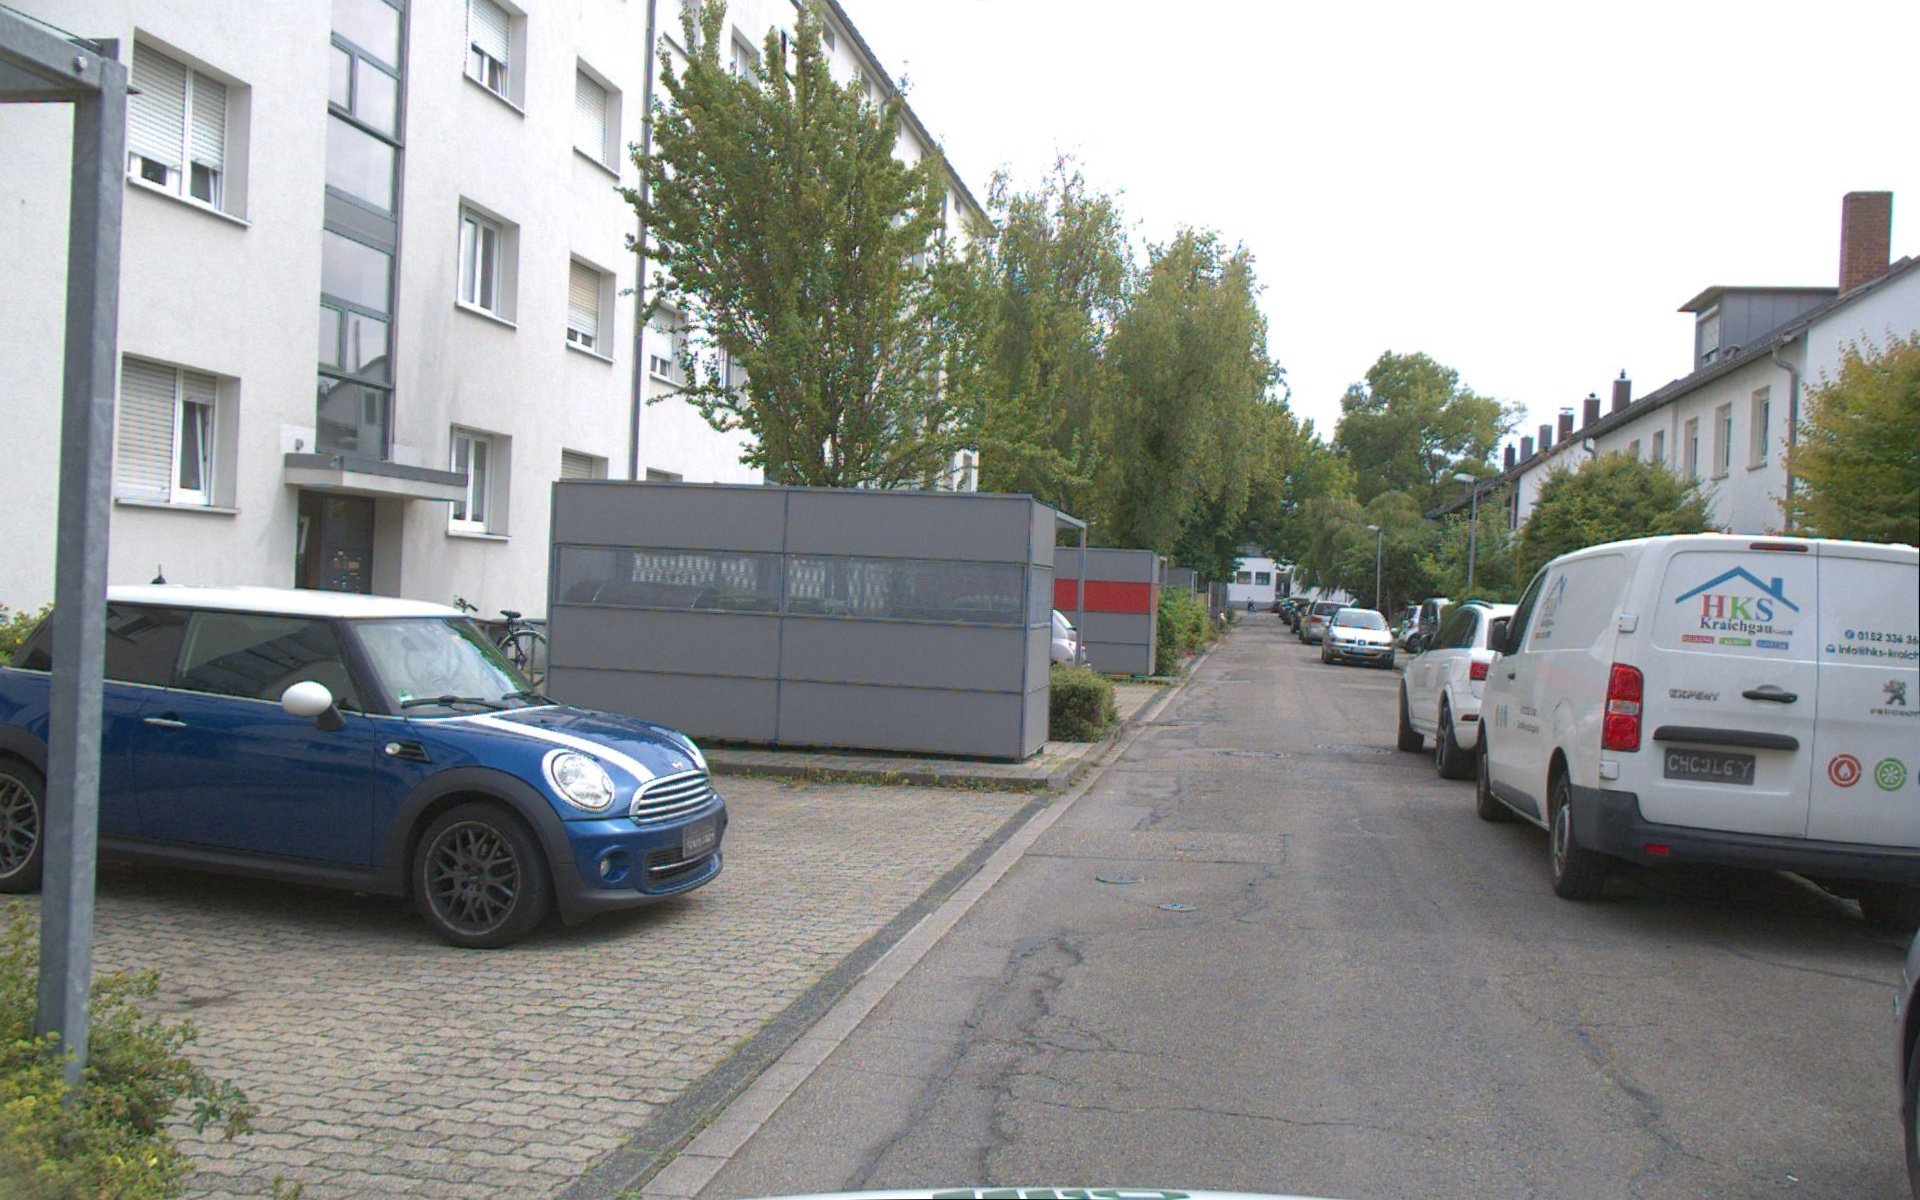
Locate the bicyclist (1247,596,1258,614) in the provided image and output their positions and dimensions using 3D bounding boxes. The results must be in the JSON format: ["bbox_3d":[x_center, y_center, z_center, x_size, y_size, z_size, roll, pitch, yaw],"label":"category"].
[{"bbox_3d":[25.749,0.471,145.673,0.782,1.537,0.934,4,0,13],"label":"bicyclist"}]

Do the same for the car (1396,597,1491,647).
[{"bbox_3d":[15.891,0.721,54.474,2.756,1.596,1.742,0,0,8],"label":"car"}]

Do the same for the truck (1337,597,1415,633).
[{"bbox_3d":[24.694,0.896,98.287,4.296,2.049,2.002,1,0,10],"label":"truck"}]

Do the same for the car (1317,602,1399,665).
[{"bbox_3d":[10.289,0.837,42.994,1.786,1.394,4.334,4,1,11],"label":"car"}]

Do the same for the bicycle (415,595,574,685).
[{"bbox_3d":[-5.684,0.492,20.241,1.786,1.042,0.474,2,0,-31],"label":"bicycle"}]

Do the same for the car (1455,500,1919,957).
[{"bbox_3d":[4.401,0.594,10.188,1.863,1.998,5.258,4,1,10],"label":"car"}]

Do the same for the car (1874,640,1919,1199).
[{"bbox_3d":[2.952,0.885,2.197,1.746,1.445,4.459,4,1,12],"label":"car"}]

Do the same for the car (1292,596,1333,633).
[{"bbox_3d":[17.267,0.683,81.132,1.786,1.608,4.196,4,1,11],"label":"car"}]

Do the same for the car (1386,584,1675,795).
[{"bbox_3d":[5.382,0.749,16.159,1.786,1.664,4.165,4,1,8],"label":"car"}]

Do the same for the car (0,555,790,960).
[{"bbox_3d":[-2.806,0.622,7.902,3.558,1.487,1.654,3,0,14],"label":"car"}]

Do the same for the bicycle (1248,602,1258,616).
[{"bbox_3d":[25.800,0.805,145.549,0.674,1.151,2.581,4,0,13],"label":"bicycle"}]

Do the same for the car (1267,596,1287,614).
[{"bbox_3d":[30.266,0.466,157.758,1.786,1.608,4.003,4,1,11],"label":"car"}]

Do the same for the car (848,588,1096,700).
[{"bbox_3d":[0.226,0.620,24.546,3.486,1.506,1.712,1,0,6],"label":"car"}]

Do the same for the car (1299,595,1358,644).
[{"bbox_3d":[13.597,0.698,61.128,1.786,1.608,4.003,4,1,9],"label":"car"}]
